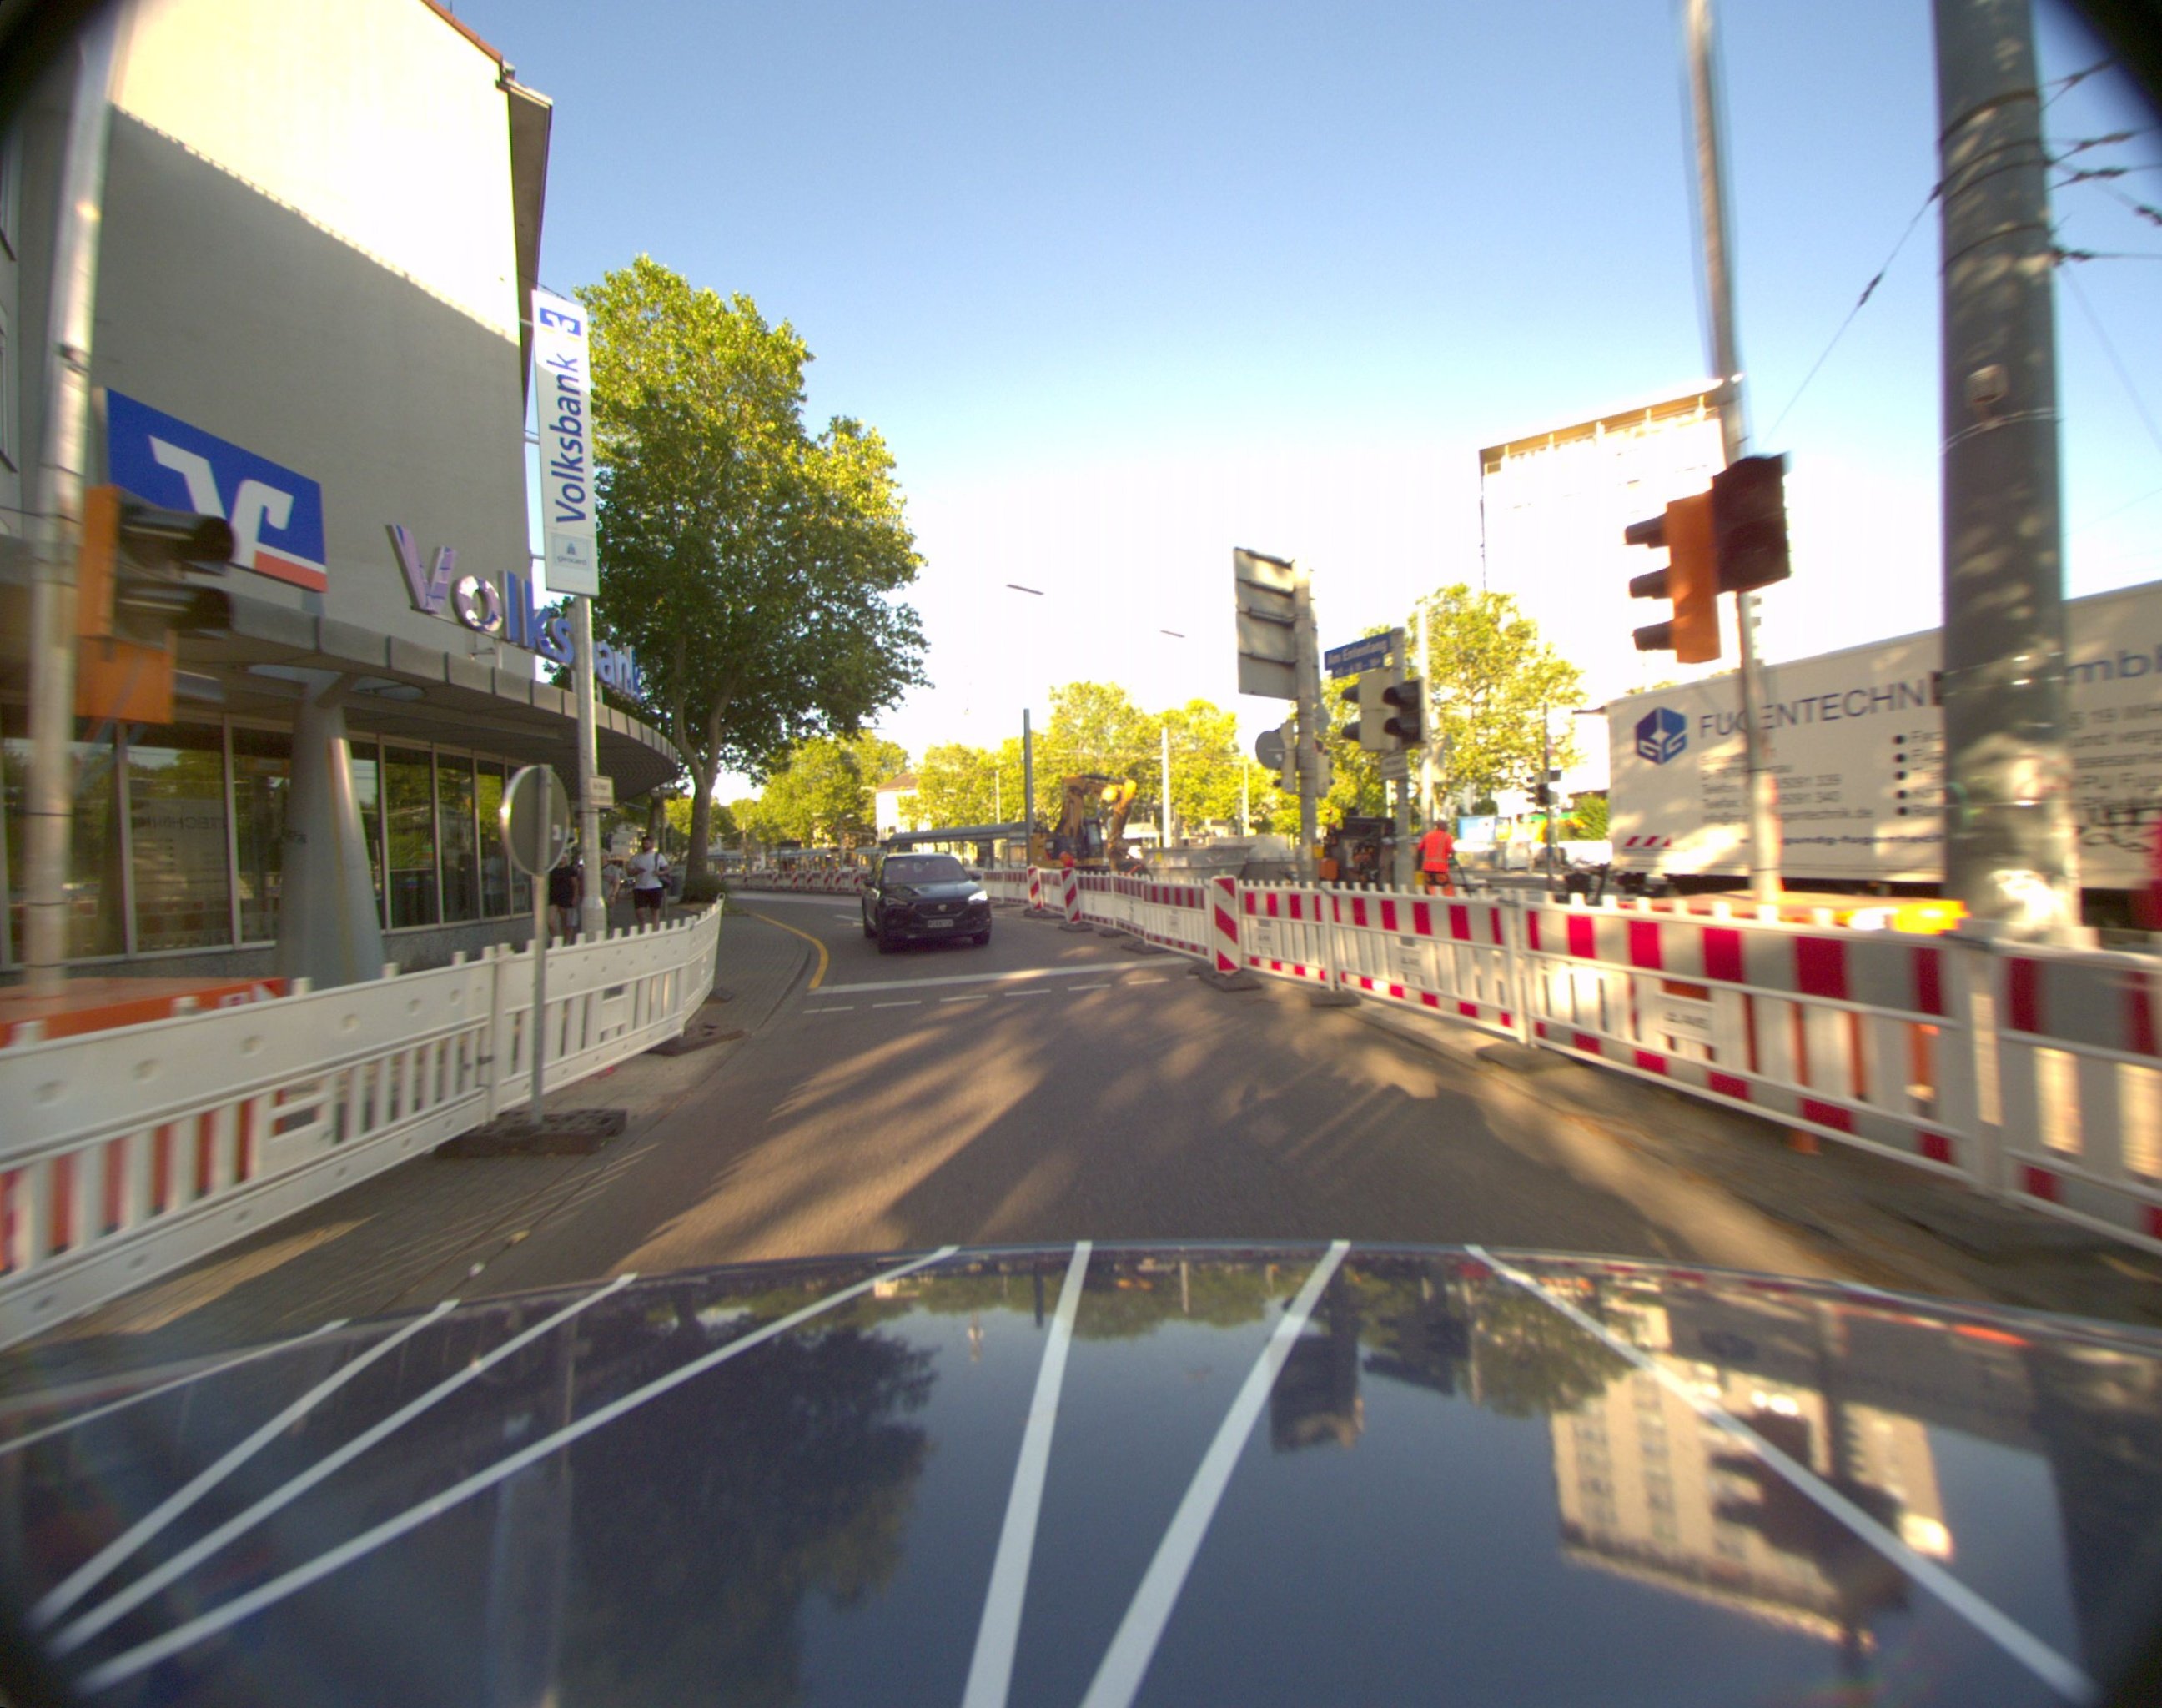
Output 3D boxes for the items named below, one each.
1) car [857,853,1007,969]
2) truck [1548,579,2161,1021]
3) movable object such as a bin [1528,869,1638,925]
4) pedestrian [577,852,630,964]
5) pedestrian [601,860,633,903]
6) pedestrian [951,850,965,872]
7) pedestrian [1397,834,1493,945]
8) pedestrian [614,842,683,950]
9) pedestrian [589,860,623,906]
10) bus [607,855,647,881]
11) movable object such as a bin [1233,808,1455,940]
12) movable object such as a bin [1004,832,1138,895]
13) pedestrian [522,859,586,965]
[{"bbox_3d":[-2.884,0.874,13.917,2.001,1.638,4.197,-4,1,-19],"label":"car"},{"bbox_3d":[9.689,-0.463,7.879,2.822,3.520,8.974,-2,0,-12],"label":"truck"},{"bbox_3d":[9.101,0.757,13.800,0.937,0.911,1.416,-2,1,-36],"label":"movable object such as a bin"},{"bbox_3d":[-7.509,0.840,11.976,0.585,1.698,0.678,2,-1,-25],"label":"pedestrian"},{"bbox_3d":[-18.774,1.123,30.739,0.904,1.686,1.068,2,-2,-39],"label":"pedestrian"},{"bbox_3d":[-11.562,0.680,71.355,0.889,2.002,0.881,-2,1,-36],"label":"pedestrian"},{"bbox_3d":[6.246,0.579,13.065,0.976,1.787,1.068,-2,1,-22],"label":"pedestrian"},{"bbox_3d":[-7.838,0.755,13.759,0.842,1.858,1.096,3,-3,-39],"label":"pedestrian"},{"bbox_3d":[-17.861,1.085,28.571,0.904,1.699,1.068,3,-3,-39],"label":"pedestrian"},{"bbox_3d":[-61.917,1.881,103.916,2.742,3.188,12.284,-4,1,-23],"label":"bus"},{"bbox_3d":[5.261,0.356,16.182,2.000,2.243,5.202,-3,1,-12],"label":"movable object such as a bin"},{"bbox_3d":[-0.473,0.381,30.429,2.656,2.304,4.888,-3,1,-44],"label":"movable object such as a bin"},{"bbox_3d":[-8.092,0.867,11.705,0.636,1.564,0.773,2,-1,-25],"label":"pedestrian"}]
